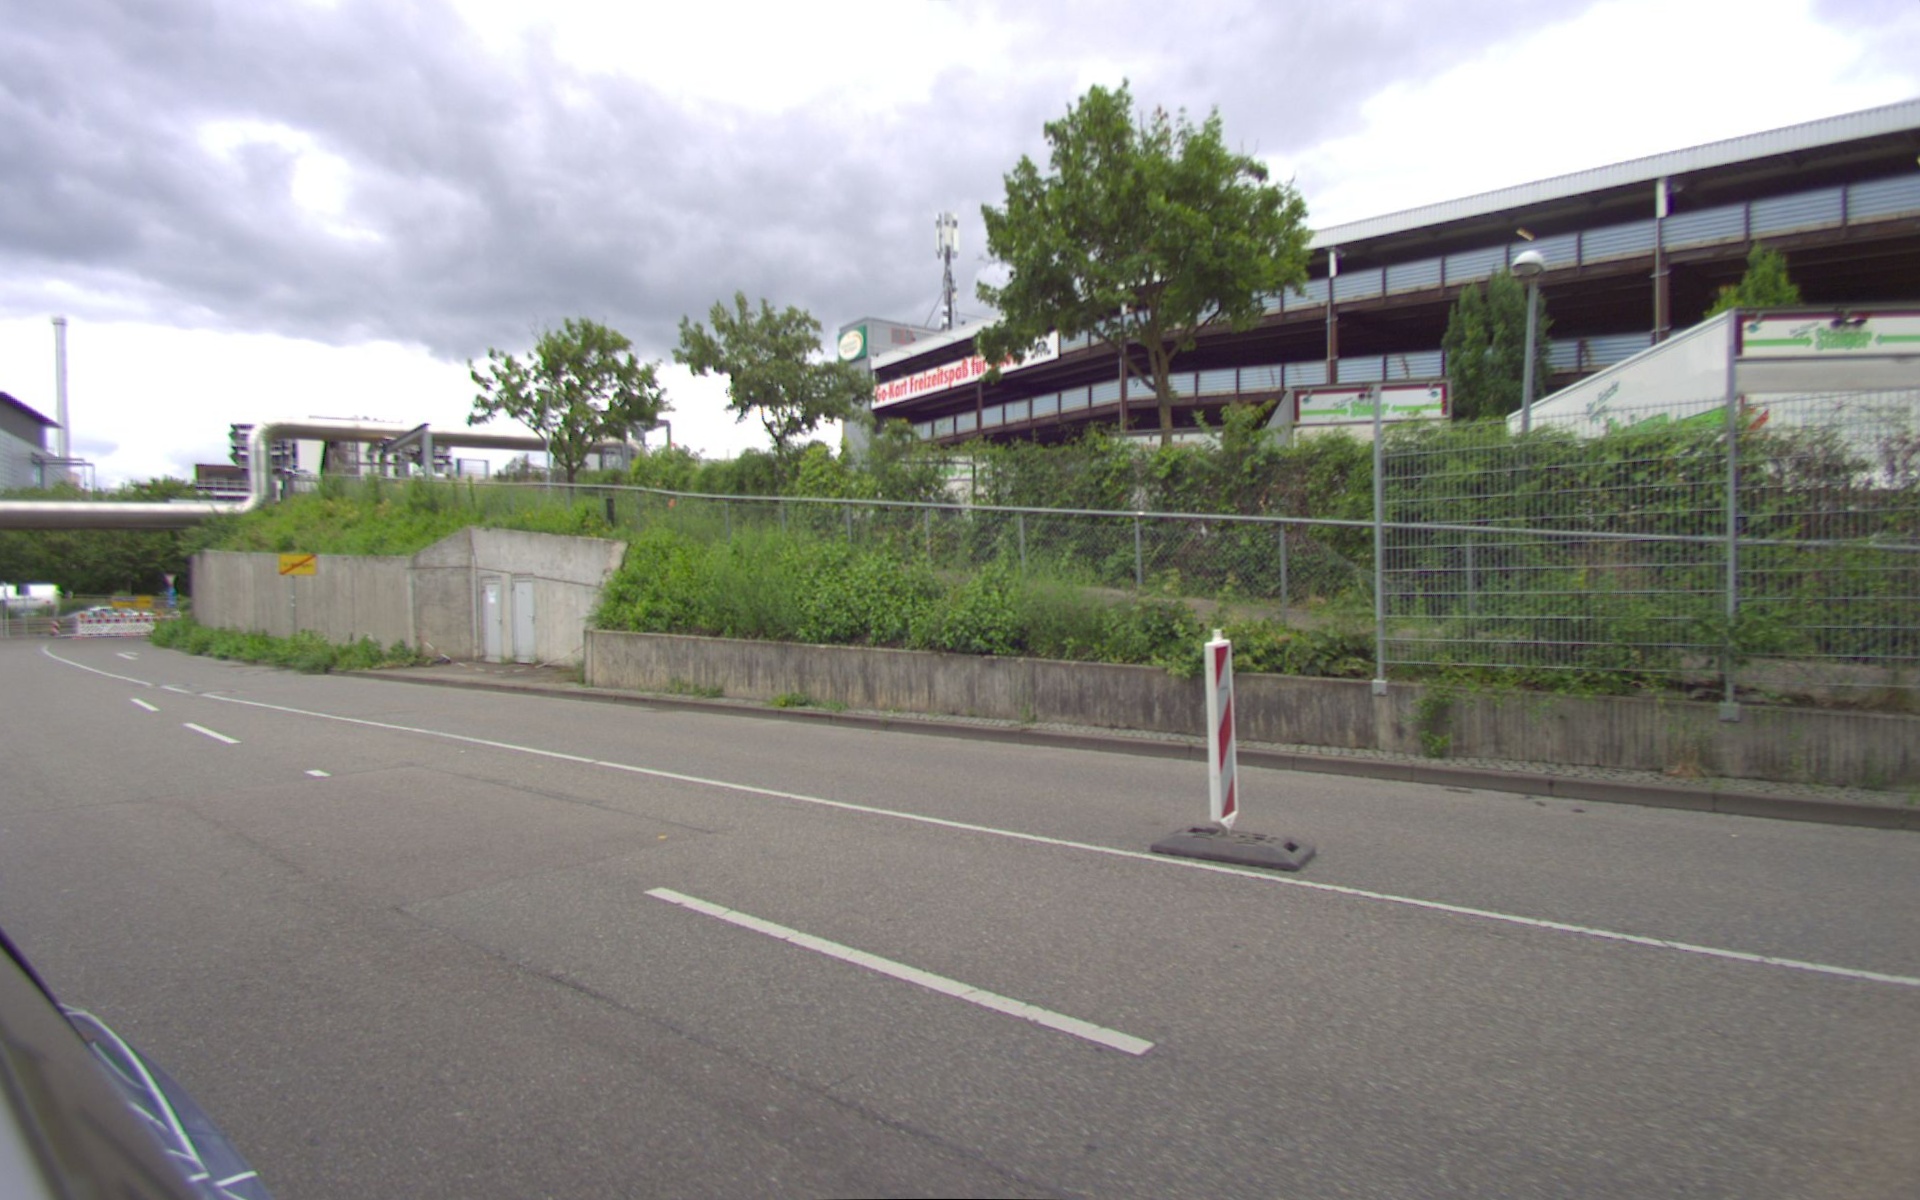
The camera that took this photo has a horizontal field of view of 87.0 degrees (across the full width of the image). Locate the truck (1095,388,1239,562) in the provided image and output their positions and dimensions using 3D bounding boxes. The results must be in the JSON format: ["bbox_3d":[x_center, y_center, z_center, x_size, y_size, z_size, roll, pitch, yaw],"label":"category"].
[{"bbox_3d":[5.090,-2.805,25.583,3.019,3.564,7.842,0,1,10],"label":"truck"}]

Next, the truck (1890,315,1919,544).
[{"bbox_3d":[15.920,-2.600,12.267,3.019,3.564,7.842,0,1,10],"label":"truck"}]

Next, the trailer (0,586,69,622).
[{"bbox_3d":[-74.606,0.382,76.403,10.802,2.715,2.225,-2,0,-38],"label":"trailer"}]

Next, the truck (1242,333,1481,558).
[{"bbox_3d":[7.814,-2.726,20.936,3.019,3.564,7.842,0,1,10],"label":"truck"}]

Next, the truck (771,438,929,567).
[{"bbox_3d":[-3.276,-2.894,32.709,3.019,3.564,7.842,0,1,10],"label":"truck"}]

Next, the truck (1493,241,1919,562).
[{"bbox_3d":[11.319,-2.424,15.696,3.019,3.564,8.130,0,1,10],"label":"truck"}]

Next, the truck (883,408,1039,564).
[{"bbox_3d":[0.313,-2.820,27.992,3.019,3.564,7.842,0,1,10],"label":"truck"}]
